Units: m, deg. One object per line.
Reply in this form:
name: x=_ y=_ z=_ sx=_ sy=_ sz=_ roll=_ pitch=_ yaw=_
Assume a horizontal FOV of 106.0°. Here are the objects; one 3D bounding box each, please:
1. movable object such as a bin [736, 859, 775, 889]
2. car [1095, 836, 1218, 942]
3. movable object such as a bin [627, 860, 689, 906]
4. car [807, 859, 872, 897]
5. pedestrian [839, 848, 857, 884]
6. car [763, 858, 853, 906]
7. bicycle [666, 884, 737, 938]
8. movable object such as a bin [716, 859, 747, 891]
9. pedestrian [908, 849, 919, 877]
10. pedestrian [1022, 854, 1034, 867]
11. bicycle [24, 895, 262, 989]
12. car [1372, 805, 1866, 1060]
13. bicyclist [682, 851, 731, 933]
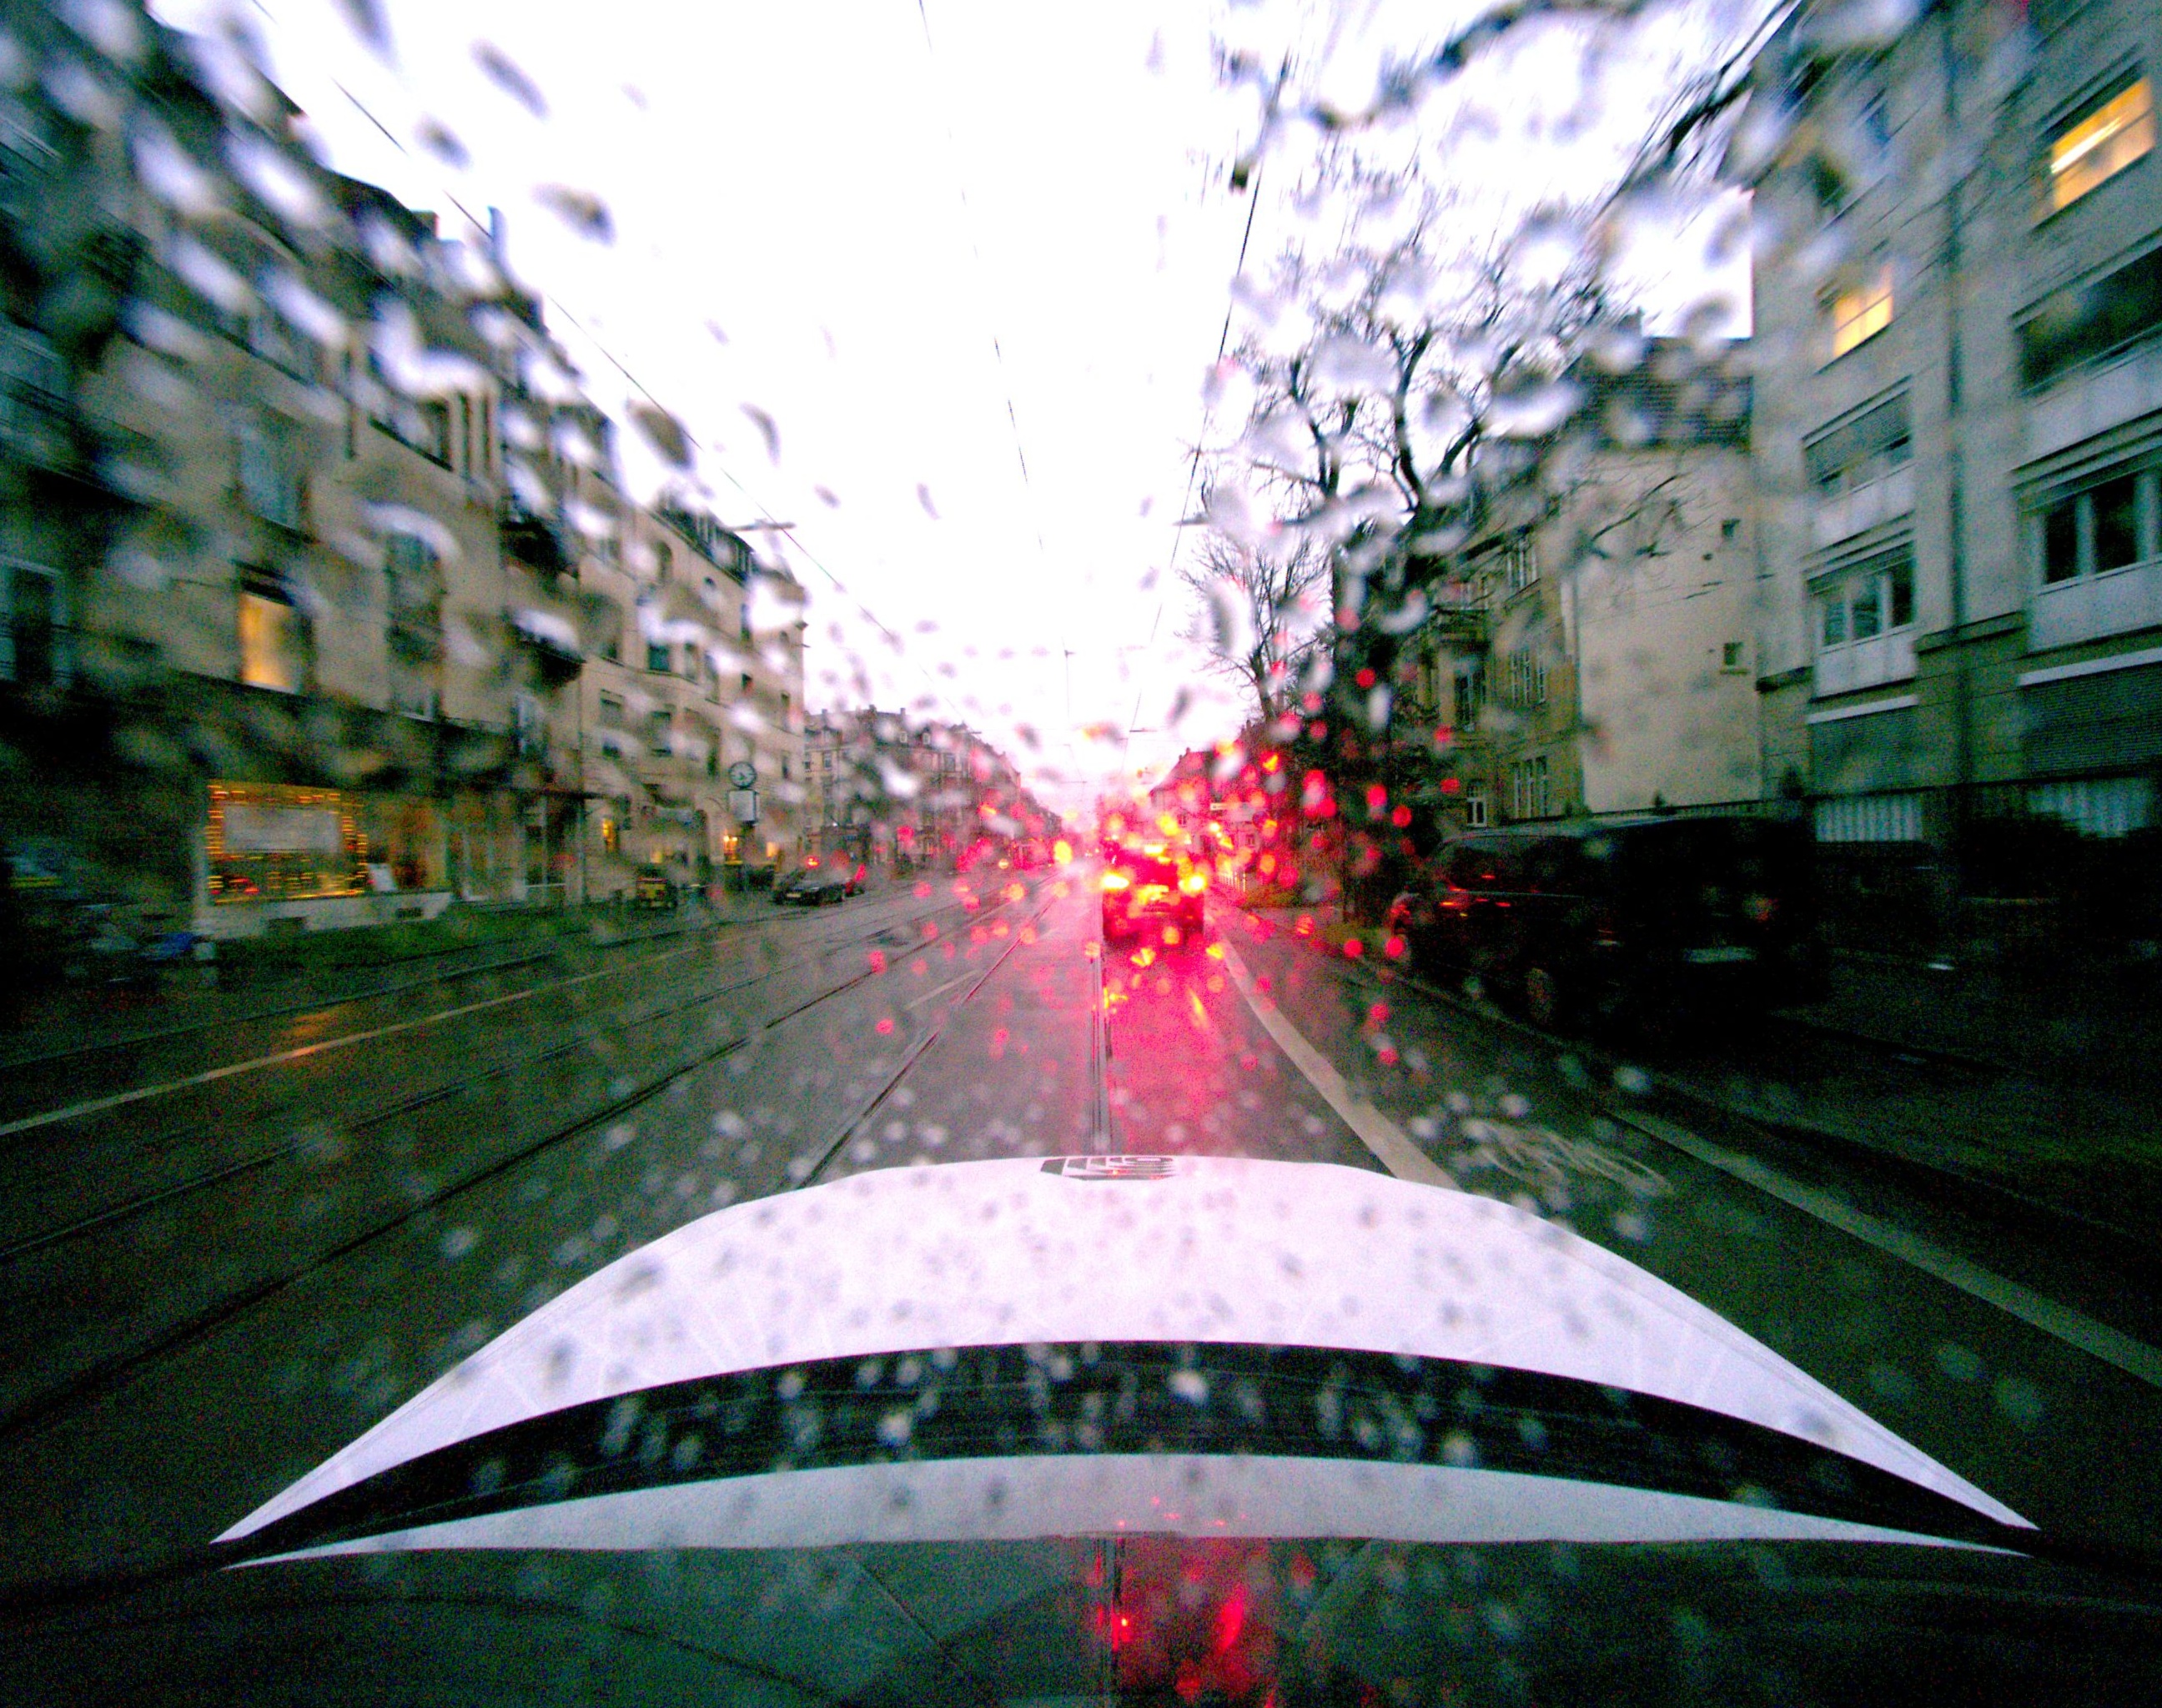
movable object such as a bin: x=-15.267 y=0.920 z=38.260 sx=1.289 sy=1.367 sz=1.252 roll=-1 pitch=0 yaw=1
car: x=1.438 y=0.594 z=16.348 sx=2.094 sy=1.816 sz=4.665 roll=1 pitch=0 yaw=3
movable object such as a bin: x=-13.573 y=0.910 z=26.175 sx=1.263 sy=1.420 sz=1.250 roll=-1 pitch=0 yaw=2
car: x=-11.213 y=1.076 z=38.087 sx=2.033 sy=1.551 sz=4.026 roll=2 pitch=0 yaw=-4
pedestrian: x=-13.287 y=0.700 z=46.442 sx=0.748 sy=2.014 sz=0.652 roll=-1 pitch=-1 yaw=37
car: x=-10.643 y=1.050 z=32.172 sx=1.980 sy=1.645 sz=4.628 roll=4 pitch=-1 yaw=-1
bicycle: x=-8.790 y=1.291 z=18.943 sx=0.621 sy=1.092 sz=1.949 roll=-1 pitch=0 yaw=3
movable object such as a bin: x=-15.775 y=0.939 z=36.779 sx=0.895 sy=1.377 sz=1.007 roll=-1 pitch=0 yaw=1
pedestrian: x=-12.418 y=0.651 z=60.308 sx=0.706 sy=2.013 sz=0.656 roll=-1 pitch=0 yaw=-18
pedestrian: x=-5.080 y=0.612 z=77.904 sx=1.043 sy=1.200 sz=0.885 roll=-1 pitch=-1 yaw=2
bicycle: x=-12.213 y=1.131 z=10.644 sx=2.340 sy=1.105 sz=0.695 roll=1 pitch=0 yaw=2
car: x=4.981 y=0.590 z=8.684 sx=2.023 sy=1.875 sz=4.965 roll=-2 pitch=0 yaw=1
bicyclist: x=-8.782 y=0.870 z=19.117 sx=0.621 sy=1.876 sz=0.992 roll=-1 pitch=0 yaw=3
